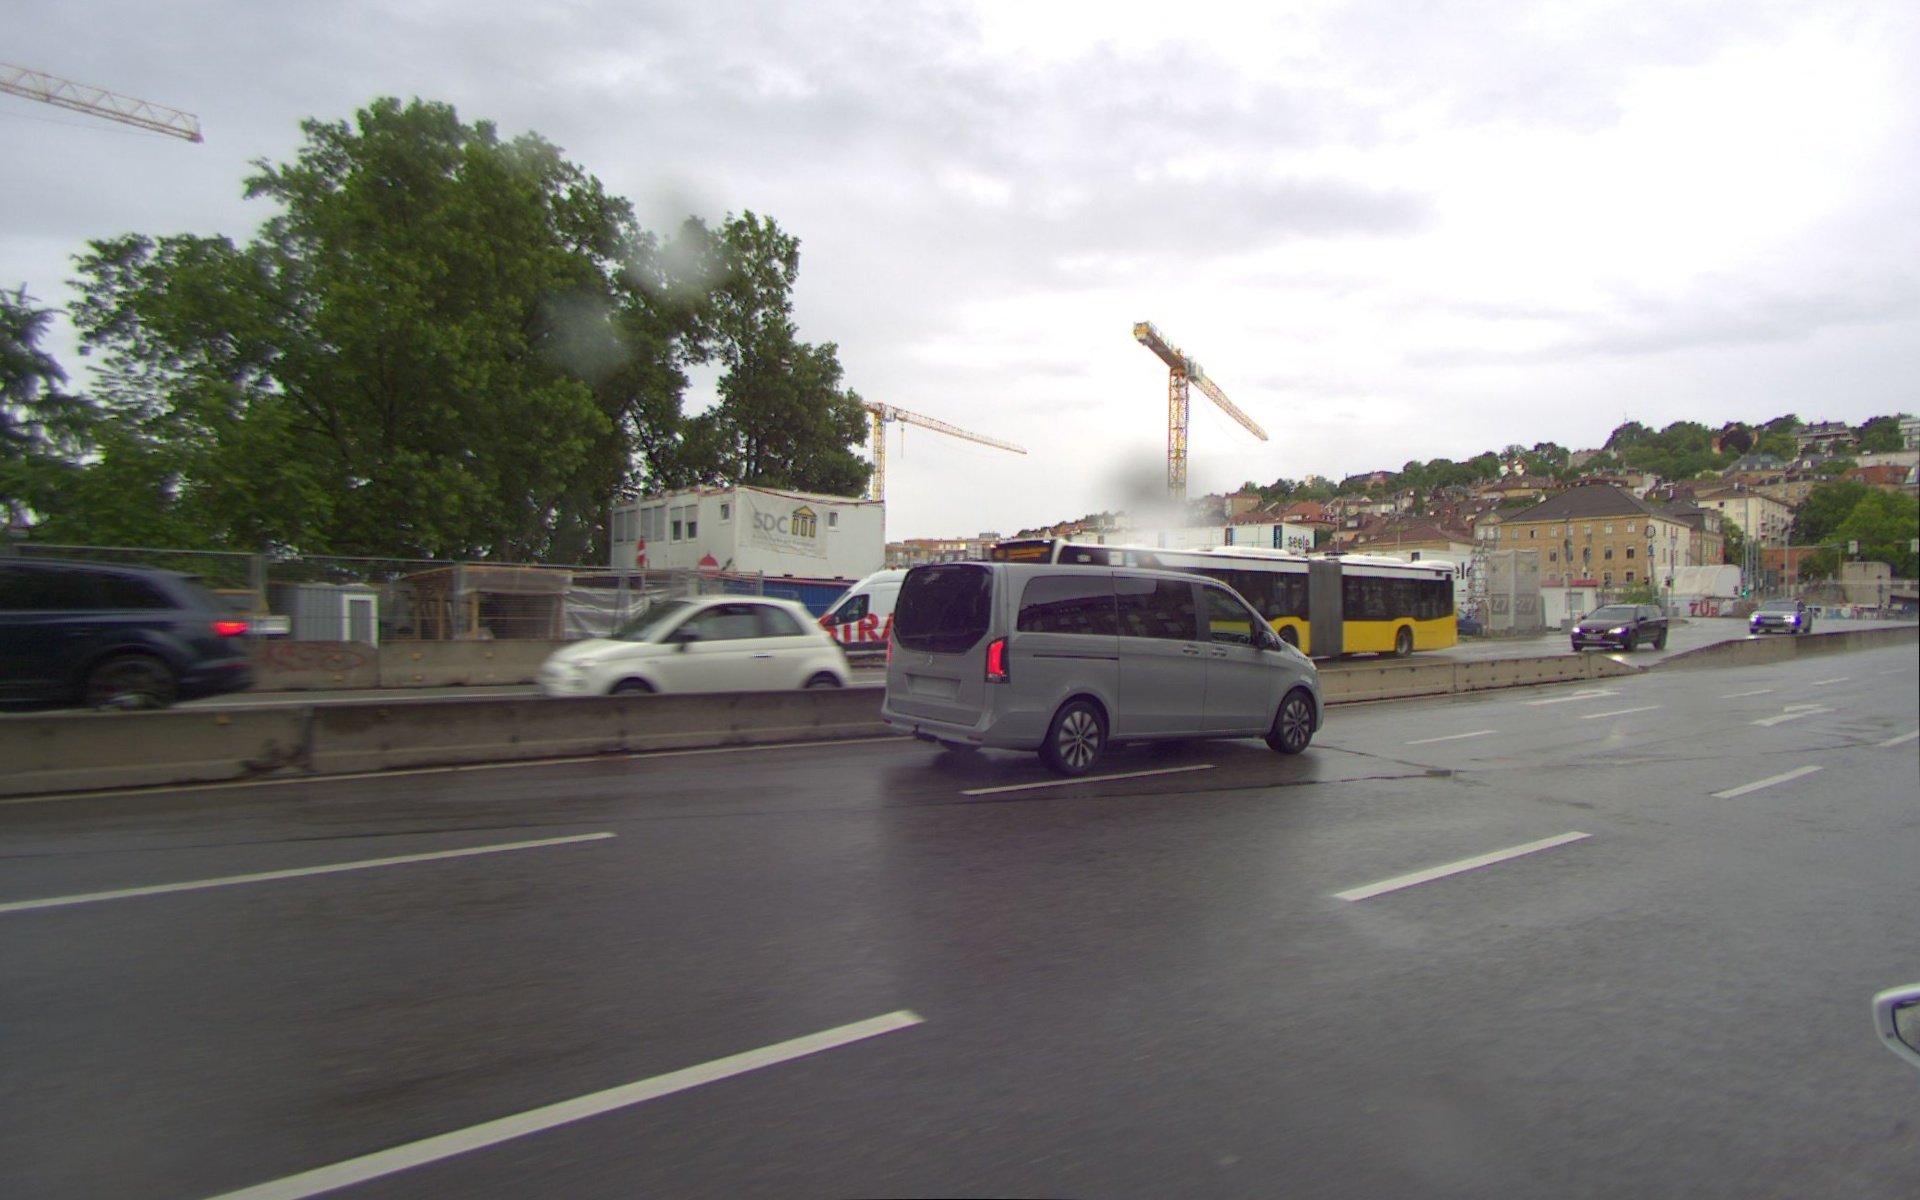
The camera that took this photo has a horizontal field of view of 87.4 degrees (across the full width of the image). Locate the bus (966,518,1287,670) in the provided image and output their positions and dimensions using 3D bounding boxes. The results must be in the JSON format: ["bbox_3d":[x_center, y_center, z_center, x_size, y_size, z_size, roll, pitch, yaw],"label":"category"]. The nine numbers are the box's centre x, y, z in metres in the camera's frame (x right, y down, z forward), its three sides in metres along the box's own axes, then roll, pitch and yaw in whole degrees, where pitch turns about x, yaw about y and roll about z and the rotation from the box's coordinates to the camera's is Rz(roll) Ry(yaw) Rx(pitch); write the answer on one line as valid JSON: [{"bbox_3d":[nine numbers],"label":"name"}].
[{"bbox_3d":[4.410,0.021,25.080,8.729,3.226,2.785,2,-2,-38],"label":"bus"}]

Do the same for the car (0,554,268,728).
[{"bbox_3d":[-9.975,0.401,10.191,4.807,1.652,2.067,1,-2,-37],"label":"car"}]

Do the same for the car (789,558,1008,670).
[{"bbox_3d":[-1.789,0.446,28.446,5.944,2.913,1.997,2,-2,-11],"label":"car"}]

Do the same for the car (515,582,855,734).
[{"bbox_3d":[-3.136,0.664,11.670,3.418,1.509,1.697,3,-3,-37],"label":"car"}]

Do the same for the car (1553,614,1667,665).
[{"bbox_3d":[22.911,1.416,35.362,4.893,1.684,2.022,3,-3,-40],"label":"car"}]

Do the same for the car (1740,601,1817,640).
[{"bbox_3d":[41.125,1.056,50.429,5.254,1.778,1.978,3,-3,-39],"label":"car"}]

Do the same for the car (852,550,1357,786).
[{"bbox_3d":[1.693,0.609,10.394,5.307,1.881,1.979,2,0,-37],"label":"car"}]

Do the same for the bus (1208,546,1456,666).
[{"bbox_3d":[11.508,0.296,30.511,9.066,3.193,2.684,2,-2,-37],"label":"bus"}]

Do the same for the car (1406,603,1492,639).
[{"bbox_3d":[23.019,0.951,47.247,3.958,1.643,1.981,0,0,-34],"label":"car"}]
